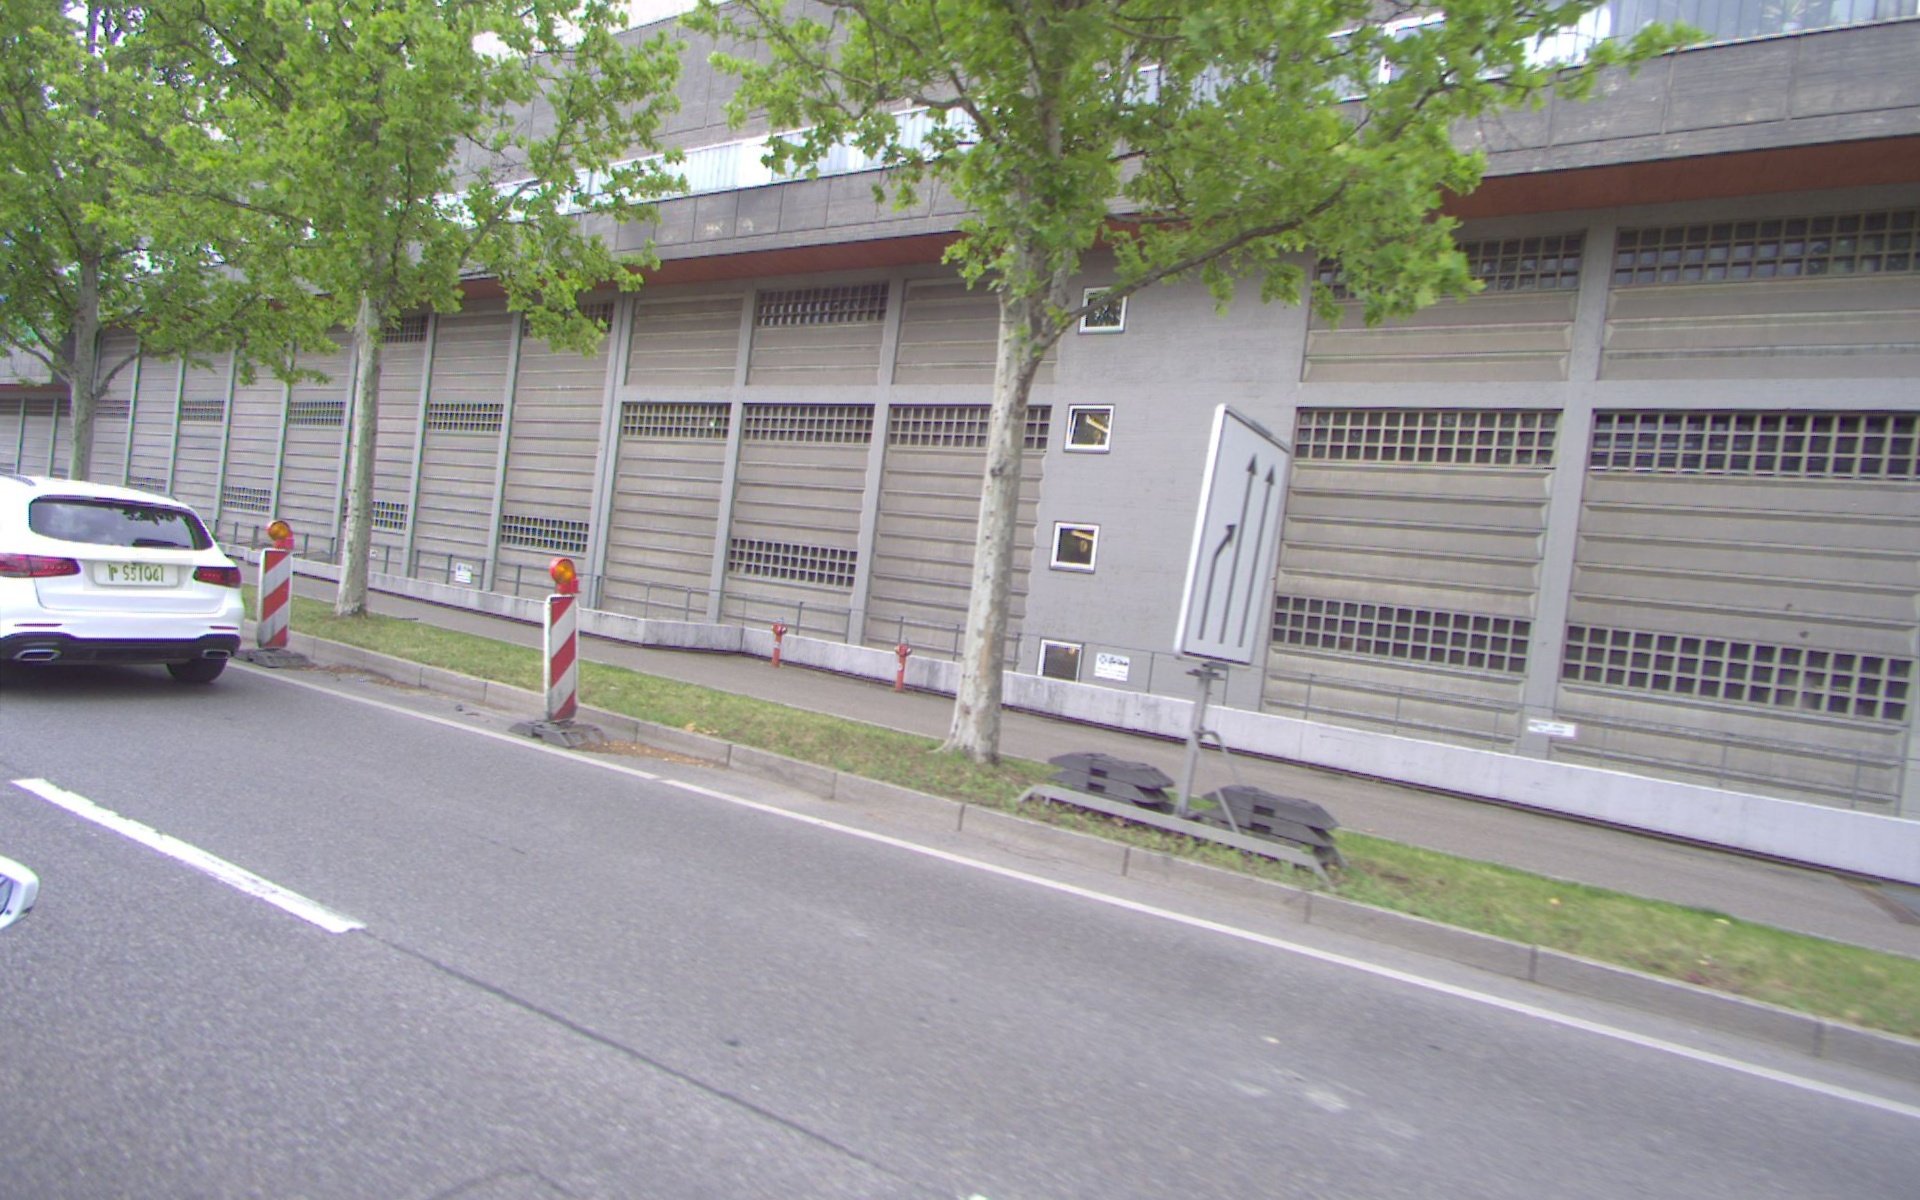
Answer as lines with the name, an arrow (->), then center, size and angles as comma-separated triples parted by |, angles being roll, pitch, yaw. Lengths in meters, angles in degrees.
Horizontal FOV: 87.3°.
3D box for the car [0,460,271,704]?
car -> -8.262, -0.345, 8.811 | 4.474, 1.664, 1.813 | 8, 3, 29
